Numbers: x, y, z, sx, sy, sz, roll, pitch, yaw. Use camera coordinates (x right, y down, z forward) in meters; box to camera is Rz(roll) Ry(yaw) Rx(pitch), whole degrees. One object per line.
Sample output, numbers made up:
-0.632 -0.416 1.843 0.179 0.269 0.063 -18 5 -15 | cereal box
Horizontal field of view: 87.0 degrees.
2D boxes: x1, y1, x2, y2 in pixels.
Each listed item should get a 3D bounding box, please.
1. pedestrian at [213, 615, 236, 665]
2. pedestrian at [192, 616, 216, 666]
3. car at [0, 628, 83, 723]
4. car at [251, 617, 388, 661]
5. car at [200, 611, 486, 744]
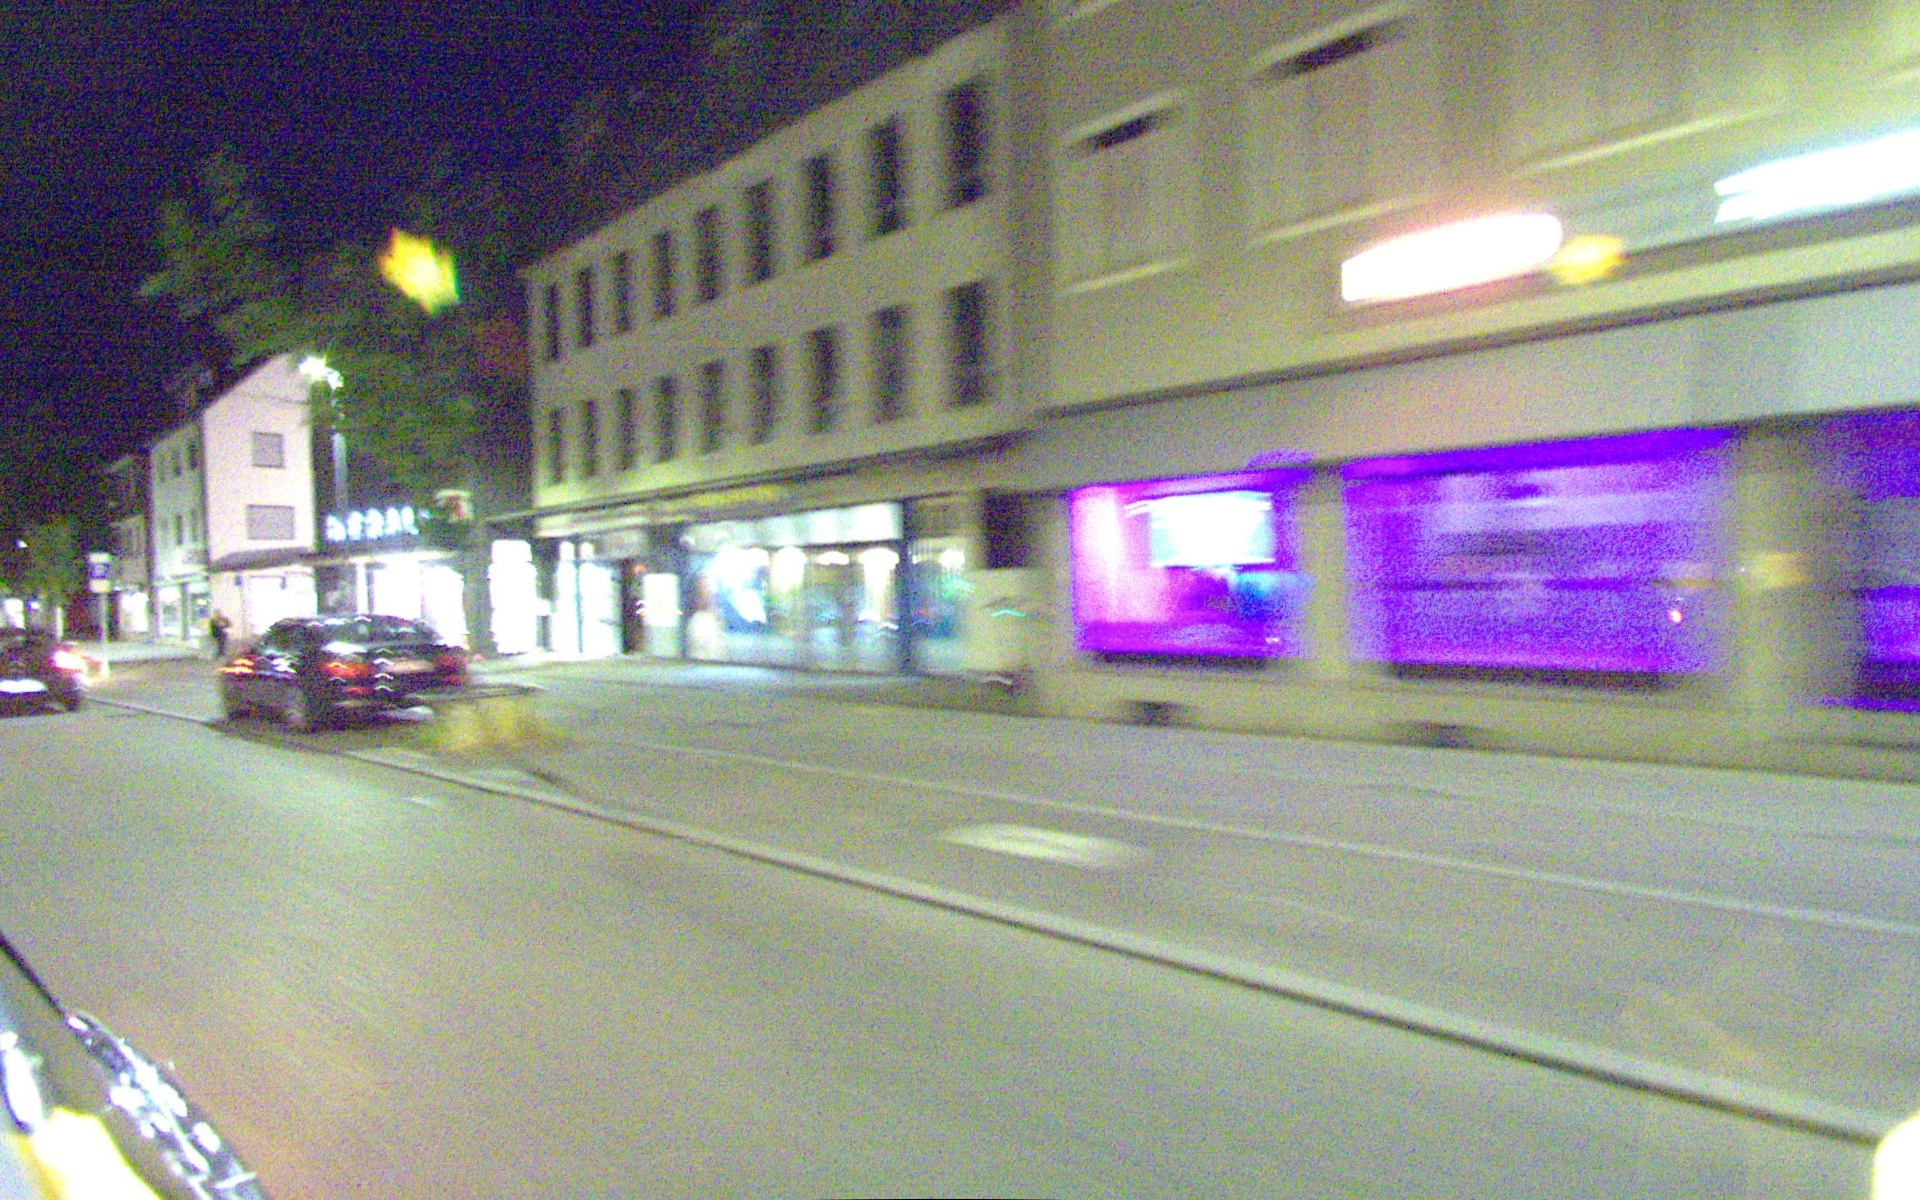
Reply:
-23.992 1.284 33.039 0.520 1.600 0.668 -1 -1 -31 | pedestrian
-24.624 1.336 32.965 0.520 1.600 0.668 -1 0 -28 | pedestrian
-16.141 1.219 16.926 3.813 1.439 1.699 -2 -1 41 | car
-22.386 1.336 35.471 1.652 1.427 3.783 -2 -1 41 | car
-8.549 0.950 13.819 4.927 1.430 1.877 -2 1 41 | car
